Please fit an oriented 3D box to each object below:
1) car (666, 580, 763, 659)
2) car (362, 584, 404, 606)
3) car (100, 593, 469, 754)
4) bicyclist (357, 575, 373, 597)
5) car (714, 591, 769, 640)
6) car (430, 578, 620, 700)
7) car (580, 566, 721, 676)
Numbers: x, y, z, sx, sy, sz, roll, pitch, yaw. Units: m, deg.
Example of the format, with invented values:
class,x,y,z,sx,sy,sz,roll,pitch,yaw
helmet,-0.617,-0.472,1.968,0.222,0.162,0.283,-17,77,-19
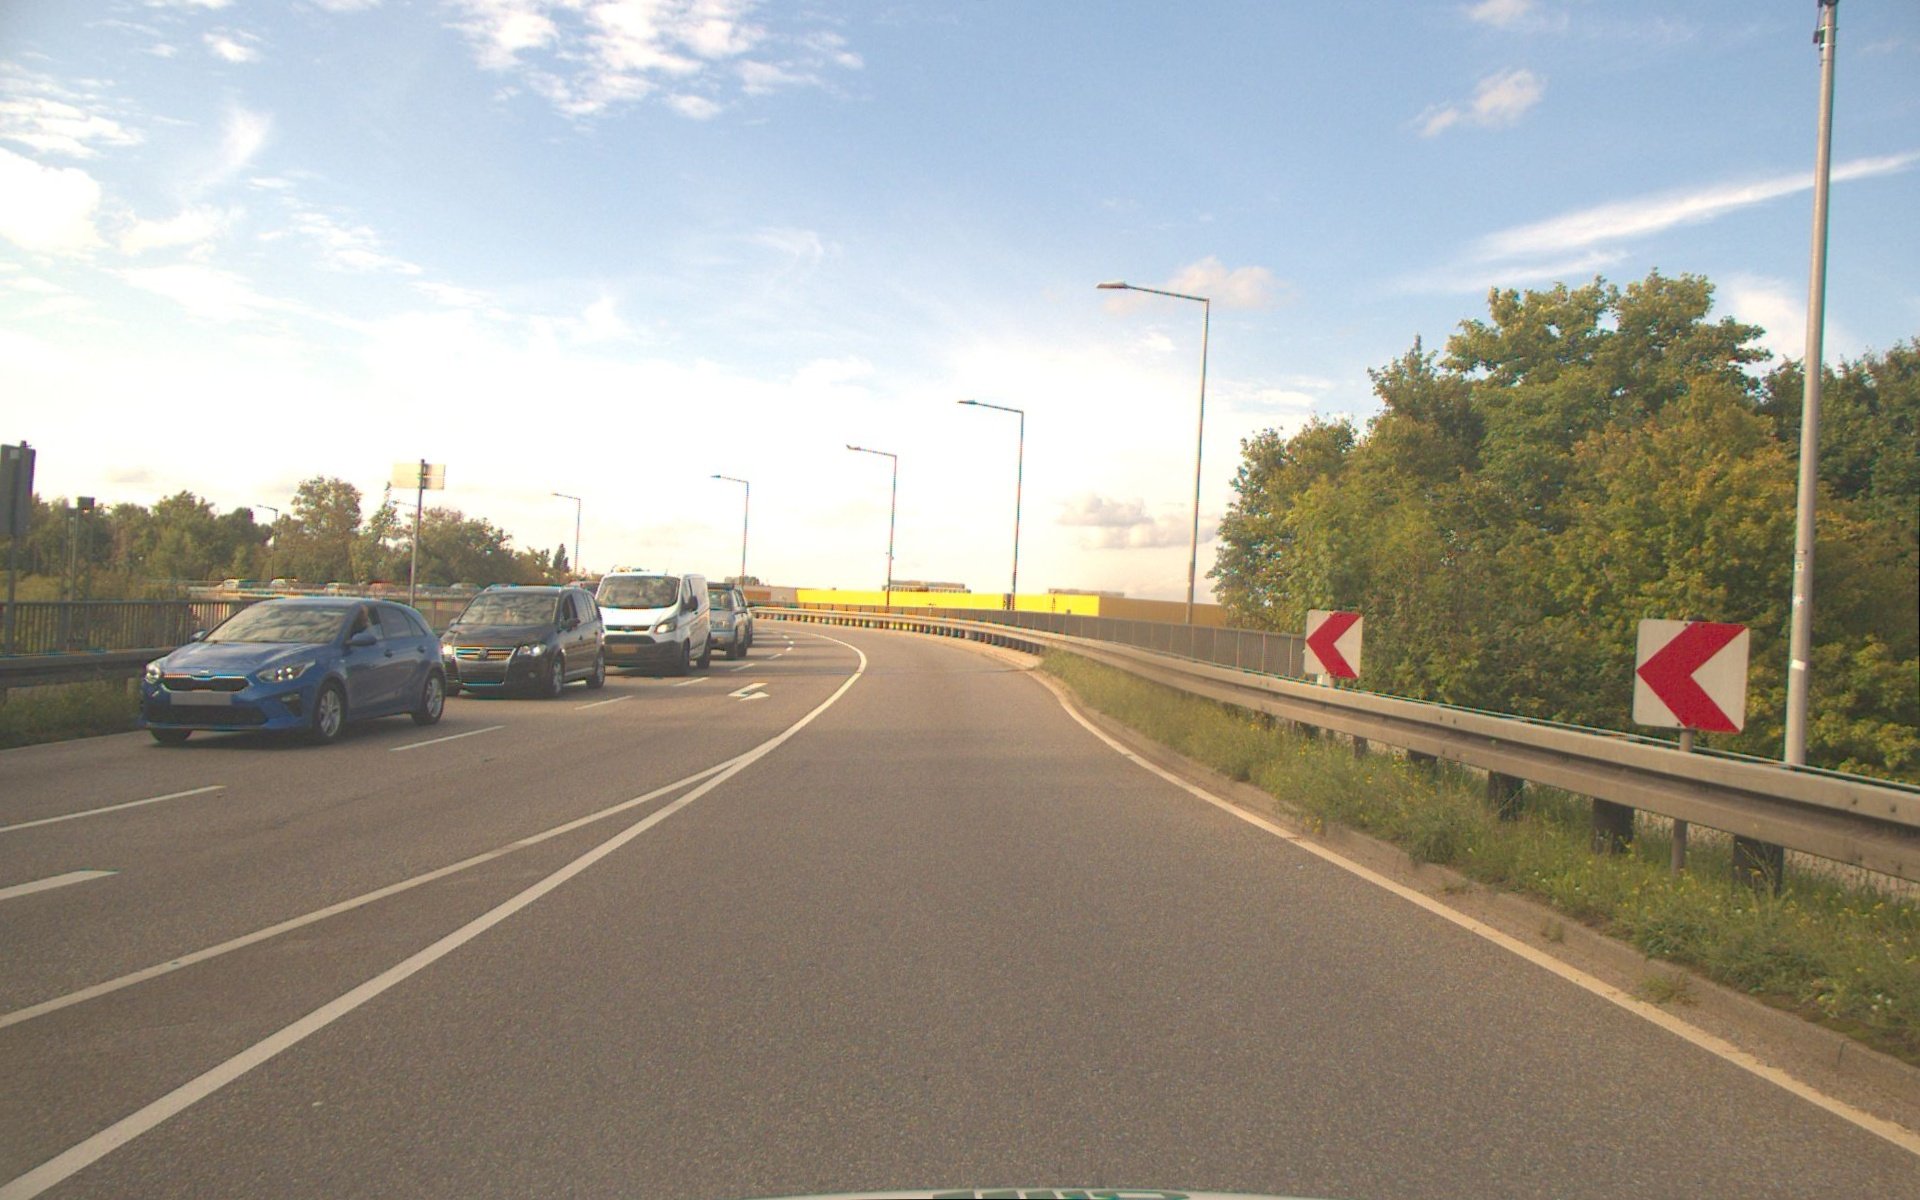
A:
class,x,y,z,sx,sy,sz,roll,pitch,yaw
car,-5.850,0.434,39.769,1.737,1.776,3.837,1,0,0
car,-47.413,-0.422,135.831,3.773,1.776,1.767,1,0,45
car,-6.968,0.674,17.627,1.853,1.473,4.363,1,0,4
bicyclist,-46.471,-1.110,129.107,0.763,1.690,1.102,1,-1,-45
car,-7.411,0.491,55.941,1.652,1.572,3.913,1,0,-10
car,-6.555,0.539,25.418,1.710,1.683,4.453,1,0,0
car,-6.041,0.368,32.867,1.945,1.998,5.046,1,0,-2
